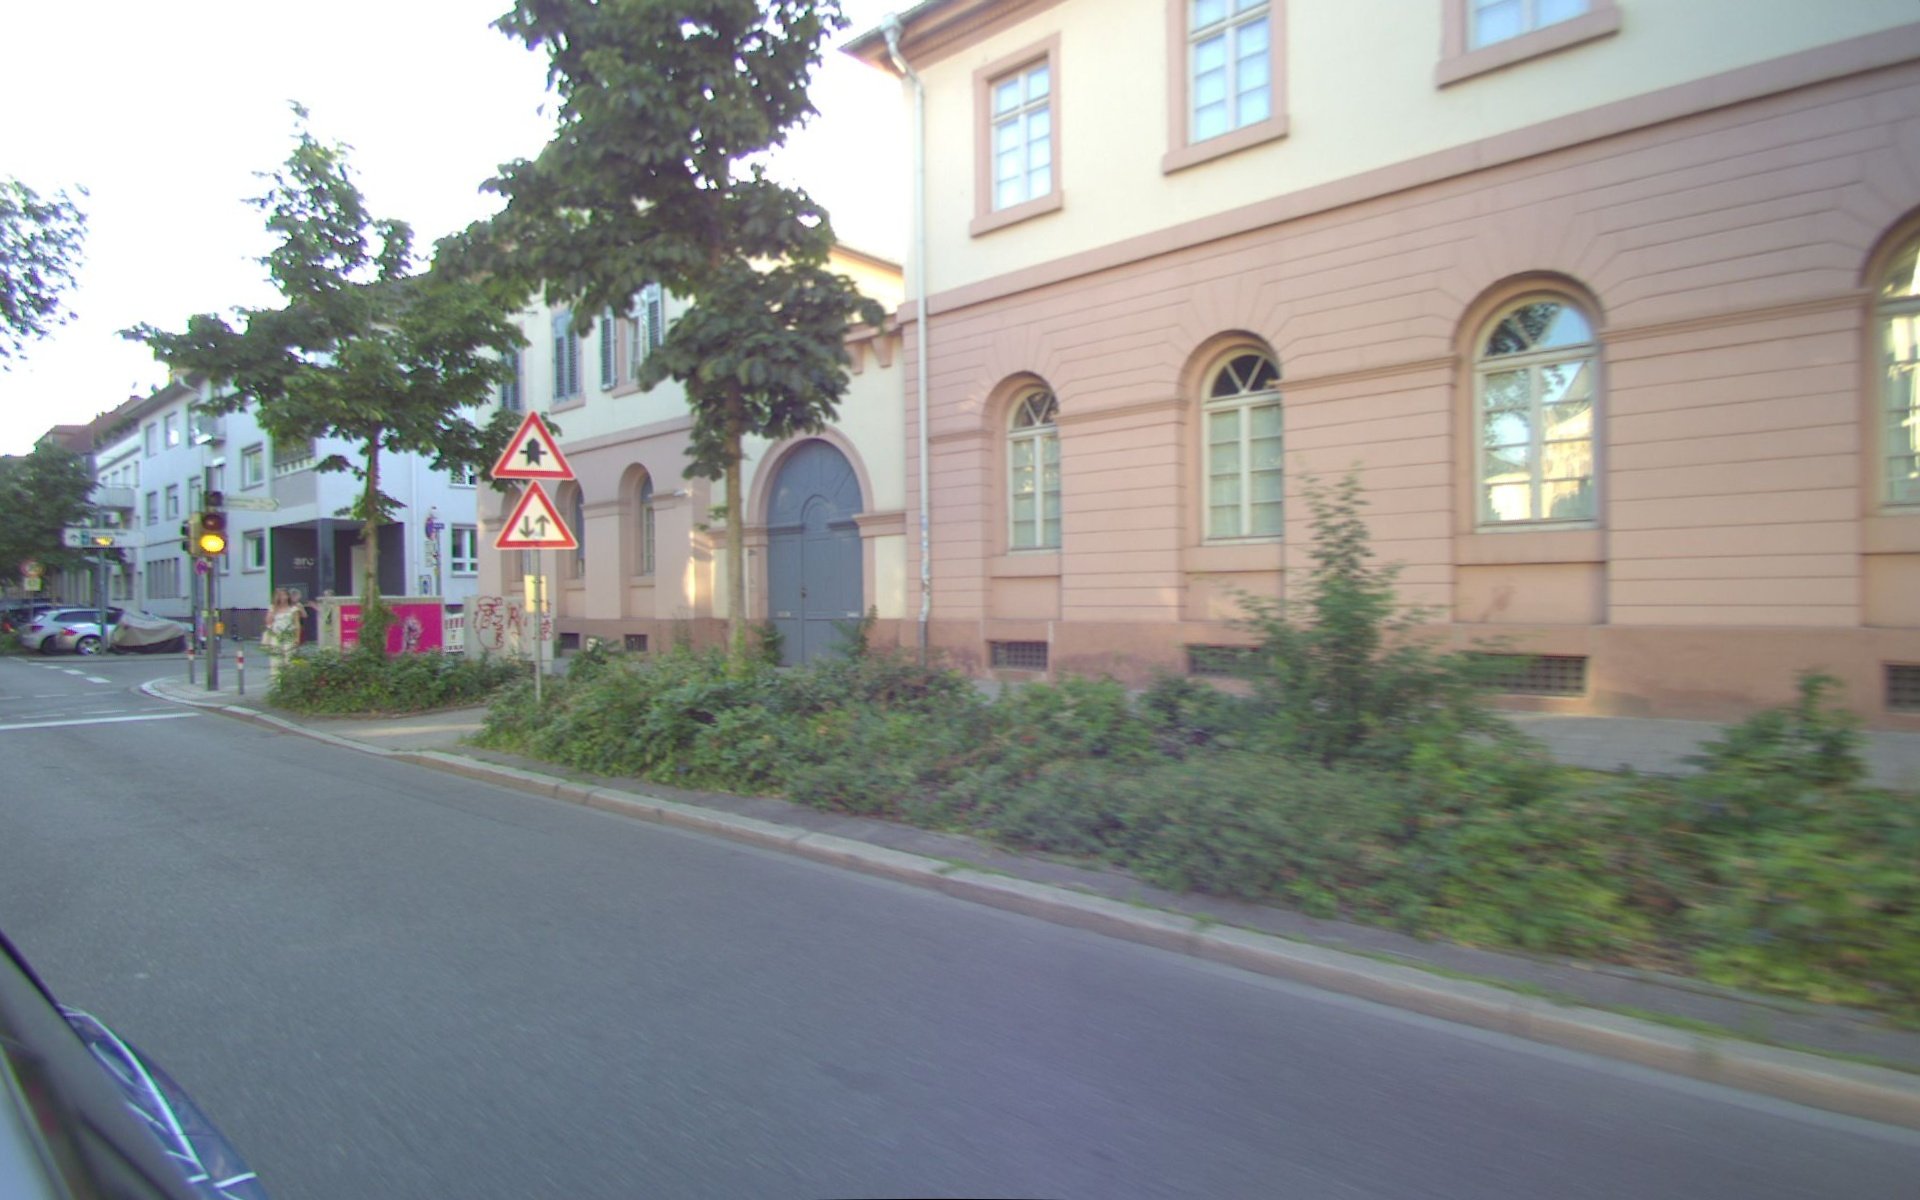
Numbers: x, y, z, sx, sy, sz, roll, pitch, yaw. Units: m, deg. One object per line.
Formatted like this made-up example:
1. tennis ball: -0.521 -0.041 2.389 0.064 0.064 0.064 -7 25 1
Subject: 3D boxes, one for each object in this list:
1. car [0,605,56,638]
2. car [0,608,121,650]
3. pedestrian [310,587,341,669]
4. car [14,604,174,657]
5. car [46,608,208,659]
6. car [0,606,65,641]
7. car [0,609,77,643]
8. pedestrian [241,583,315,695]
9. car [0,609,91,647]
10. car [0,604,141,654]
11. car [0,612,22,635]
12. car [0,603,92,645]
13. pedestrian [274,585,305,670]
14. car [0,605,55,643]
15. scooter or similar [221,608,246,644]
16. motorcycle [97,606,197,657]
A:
1. car: -50.623 1.203 53.230 1.929 1.584 4.310 -1 3 41
2. car: -36.851 1.147 41.097 1.754 1.451 4.032 -1 2 42
3. pedestrian: -14.559 0.631 23.214 0.546 1.864 0.613 -1 0 -36
4. car: -28.168 0.951 33.001 1.734 1.469 3.704 -1 2 40
5. car: -25.845 0.991 31.454 1.845 1.321 3.697 -1 2 45
6. car: -48.364 1.230 51.363 1.823 1.603 4.112 -1 3 41
7. car: -44.845 1.257 48.300 1.854 1.461 3.806 -2 0 41
8. pedestrian: -11.566 0.642 17.187 0.779 1.804 0.773 -4 1 -22
9. car: -41.211 1.252 44.793 1.781 1.505 3.984 -1 2 44
10. car: -32.953 1.031 37.277 1.935 1.644 4.050 -1 1 42
11. car: -61.792 1.565 63.244 1.715 1.417 4.383 0 3 37
12. car: -43.025 1.092 46.379 2.155 1.778 4.618 -1 1 40
13. pedestrian: -15.112 0.609 22.806 0.546 1.864 0.613 0 0 -35
14. car: -52.613 1.342 54.933 2.188 2.005 4.940 -1 0 39
15. scooter or similar: -26.627 0.934 37.095 0.509 1.271 1.421 -2 2 -44
16. motorcycle: -23.691 0.904 29.551 2.118 1.430 0.971 0 0 -28
